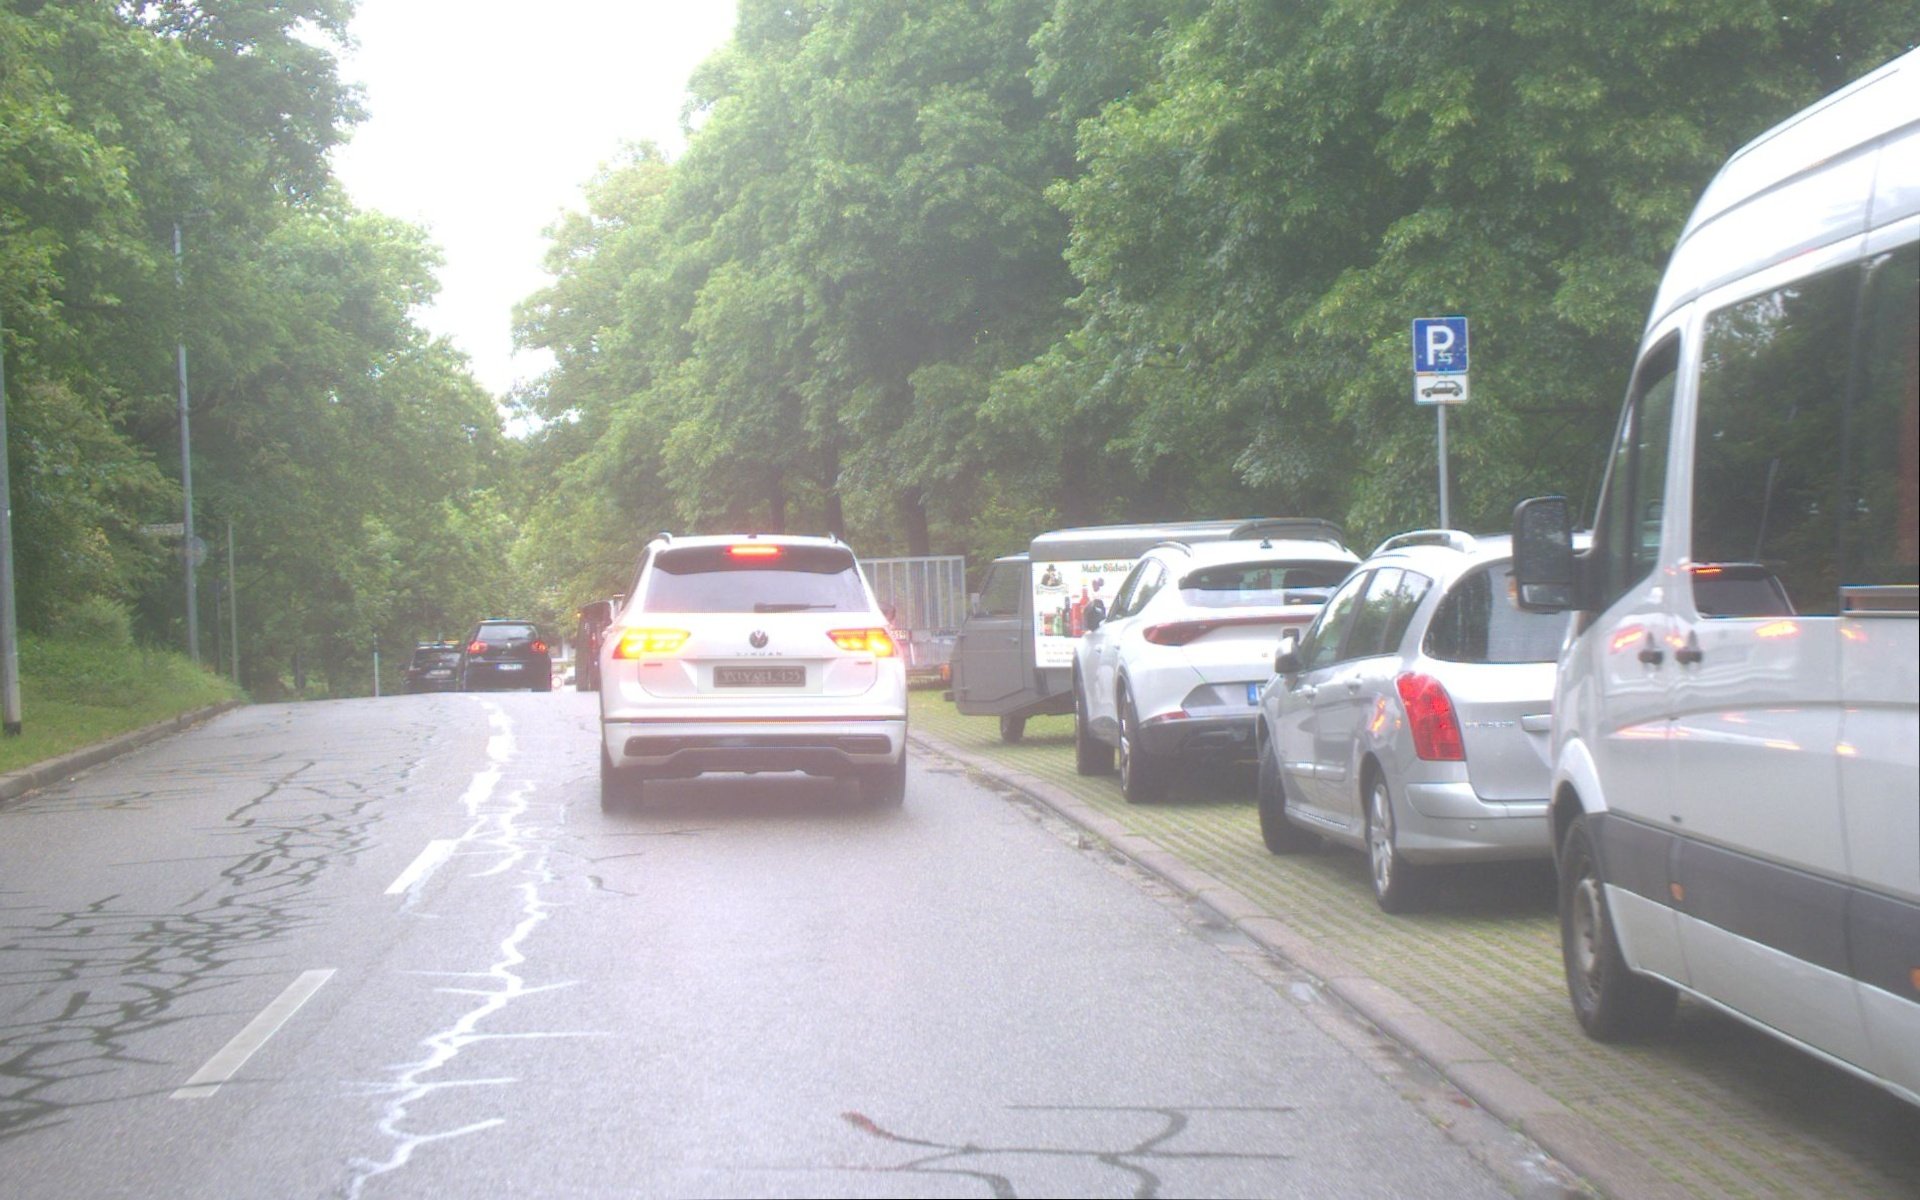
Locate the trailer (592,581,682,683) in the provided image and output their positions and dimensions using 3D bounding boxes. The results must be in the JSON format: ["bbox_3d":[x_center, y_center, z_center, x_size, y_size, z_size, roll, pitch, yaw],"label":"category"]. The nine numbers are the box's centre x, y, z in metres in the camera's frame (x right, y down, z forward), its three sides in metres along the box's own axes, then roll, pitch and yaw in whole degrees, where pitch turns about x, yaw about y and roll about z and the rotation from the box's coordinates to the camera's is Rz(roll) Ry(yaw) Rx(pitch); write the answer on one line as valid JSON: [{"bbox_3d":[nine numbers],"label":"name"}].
[{"bbox_3d":[-7.112,0.736,75.513,1.529,2.069,4.000,-3,-1,-10],"label":"trailer"}]

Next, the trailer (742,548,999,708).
[{"bbox_3d":[-1.252,0.371,44.138,2.449,1.806,5.893,-3,0,-9],"label":"trailer"}]

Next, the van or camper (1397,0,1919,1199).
[{"bbox_3d":[2.835,-0.169,8.518,2.016,2.574,8.437,-3,2,-2],"label":"van or camper"}]

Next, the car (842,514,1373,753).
[{"bbox_3d":[1.091,0.288,26.881,4.004,1.675,1.607,-3,0,44],"label":"car"}]

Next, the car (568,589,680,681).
[{"bbox_3d":[-7.881,0.859,80.201,1.993,1.903,5.510,-2,-2,-11],"label":"car"}]

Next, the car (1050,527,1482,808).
[{"bbox_3d":[1.789,0.330,21.647,1.993,1.492,4.567,-2,2,-3],"label":"car"}]

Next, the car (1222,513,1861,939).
[{"bbox_3d":[2.400,0.435,15.310,1.805,1.533,4.268,-3,1,-4],"label":"car"}]

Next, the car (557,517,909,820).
[{"bbox_3d":[-1.320,0.376,21.666,1.905,1.679,4.201,-1,0,0],"label":"car"}]

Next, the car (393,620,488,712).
[{"bbox_3d":[-13.240,1.655,87.484,1.993,2.006,4.002,-2,3,-14],"label":"car"}]

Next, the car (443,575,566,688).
[{"bbox_3d":[-9.234,0.595,69.513,1.993,2.006,4.002,-2,3,-14],"label":"car"}]
